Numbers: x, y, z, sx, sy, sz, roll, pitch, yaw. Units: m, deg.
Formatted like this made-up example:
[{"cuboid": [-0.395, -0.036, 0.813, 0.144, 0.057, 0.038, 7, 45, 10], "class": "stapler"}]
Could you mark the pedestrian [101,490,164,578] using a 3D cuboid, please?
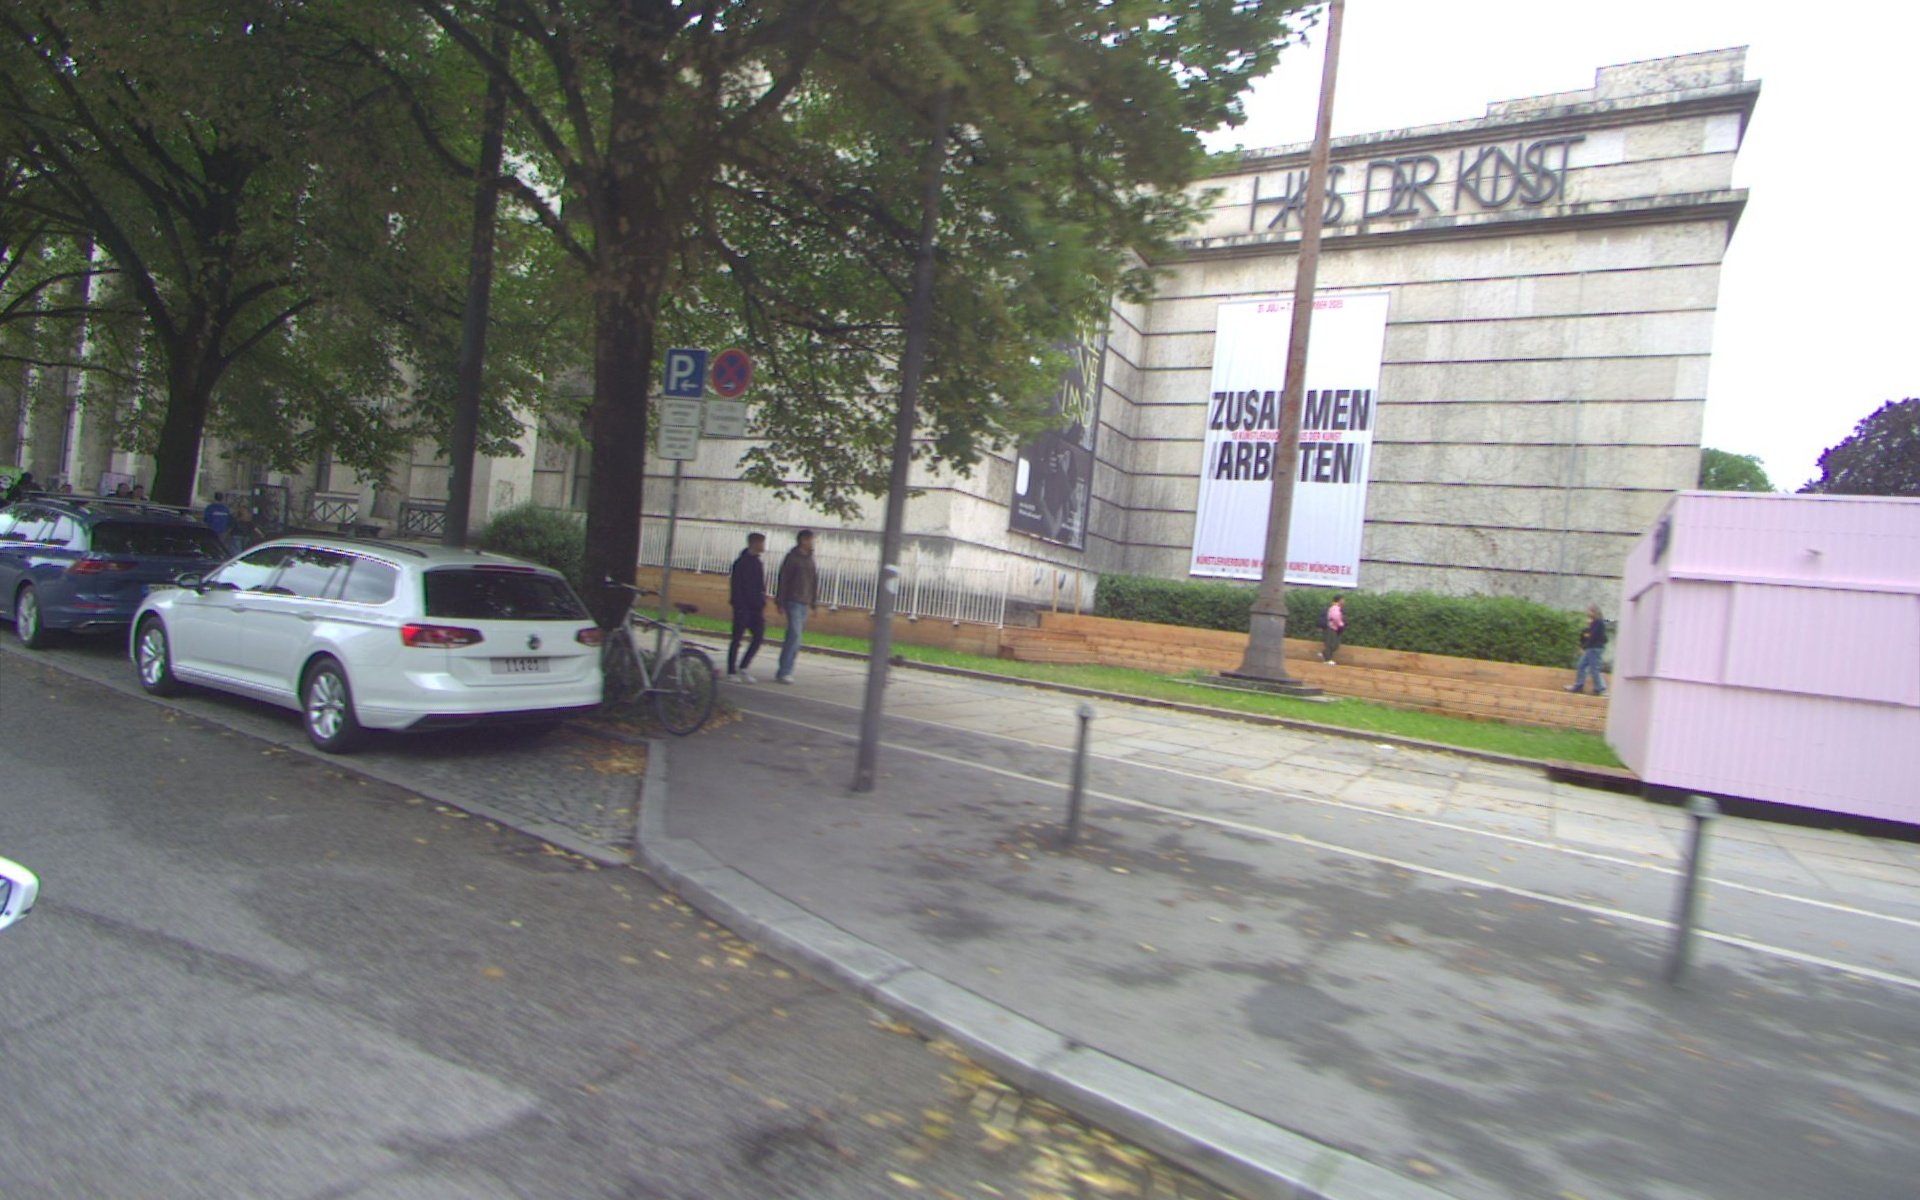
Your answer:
[{"cuboid": [-19.498, -1.544, 23.704, 0.758, 1.933, 0.780, 7, -1, 32], "class": "pedestrian"}]

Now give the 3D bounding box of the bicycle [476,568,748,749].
[{"cuboid": [-3.148, 0.480, 8.963, 2.574, 1.245, 0.630, 7, -1, 29], "class": "bicycle"}]

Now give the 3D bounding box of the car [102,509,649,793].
[{"cuboid": [-4.924, 0.260, 8.255, 4.673, 1.569, 1.829, 6, 0, 32], "class": "car"}]

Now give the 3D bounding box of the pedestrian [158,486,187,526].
[{"cuboid": [-29.600, -3.541, 37.822, 0.635, 1.390, 0.567, 7, -1, 32], "class": "pedestrian"}]

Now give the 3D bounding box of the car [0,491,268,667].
[{"cuboid": [-9.838, -0.321, 11.255, 4.510, 1.569, 1.726, 6, 0, 32], "class": "car"}]

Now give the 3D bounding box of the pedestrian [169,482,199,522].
[{"cuboid": [-28.933, -3.649, 37.520, 0.635, 1.390, 0.567, 7, -1, 32], "class": "pedestrian"}]

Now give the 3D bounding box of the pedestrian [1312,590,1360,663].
[{"cuboid": [8.252, 0.579, 22.091, 0.758, 1.512, 0.488, 7, 0, 32], "class": "pedestrian"}]

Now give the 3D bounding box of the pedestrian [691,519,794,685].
[{"cuboid": [-2.681, 0.031, 12.414, 0.758, 1.933, 0.700, 7, -1, 32], "class": "pedestrian"}]

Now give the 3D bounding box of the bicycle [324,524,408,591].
[{"cuboid": [-14.536, -1.049, 24.592, 2.260, 1.433, 0.700, 6, 1, 31], "class": "bicycle"}]

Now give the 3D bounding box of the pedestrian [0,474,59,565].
[{"cuboid": [-21.275, -1.830, 22.916, 0.758, 1.933, 0.780, 7, -1, 32], "class": "pedestrian"}]

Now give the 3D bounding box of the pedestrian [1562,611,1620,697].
[{"cuboid": [11.811, 1.017, 18.839, 0.758, 1.512, 0.488, 7, 0, 32], "class": "pedestrian"}]

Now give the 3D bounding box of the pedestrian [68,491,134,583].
[{"cuboid": [-19.482, -1.418, 22.827, 0.758, 1.933, 0.780, 7, -1, 32], "class": "pedestrian"}]

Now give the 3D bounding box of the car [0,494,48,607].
[{"cuboid": [-14.971, -0.905, 14.276, 4.697, 1.483, 1.726, 6, 0, 32], "class": "car"}]

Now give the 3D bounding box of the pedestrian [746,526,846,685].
[{"cuboid": [-2.126, 0.083, 13.077, 0.758, 1.933, 0.765, 7, -1, 32], "class": "pedestrian"}]

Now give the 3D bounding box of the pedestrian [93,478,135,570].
[{"cuboid": [-18.702, -1.673, 22.247, 0.526, 1.933, 0.644, 7, 0, -39], "class": "pedestrian"}]

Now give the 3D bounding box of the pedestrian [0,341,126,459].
[{"cuboid": [-20.952, -4.435, 22.662, 3.933, 2.037, 1.997, 6, -1, 31], "class": "pedestrian"}]

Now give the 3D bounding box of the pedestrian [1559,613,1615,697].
[{"cuboid": [12.065, 1.066, 19.367, 0.758, 1.512, 0.488, 7, 0, 32], "class": "pedestrian"}]
